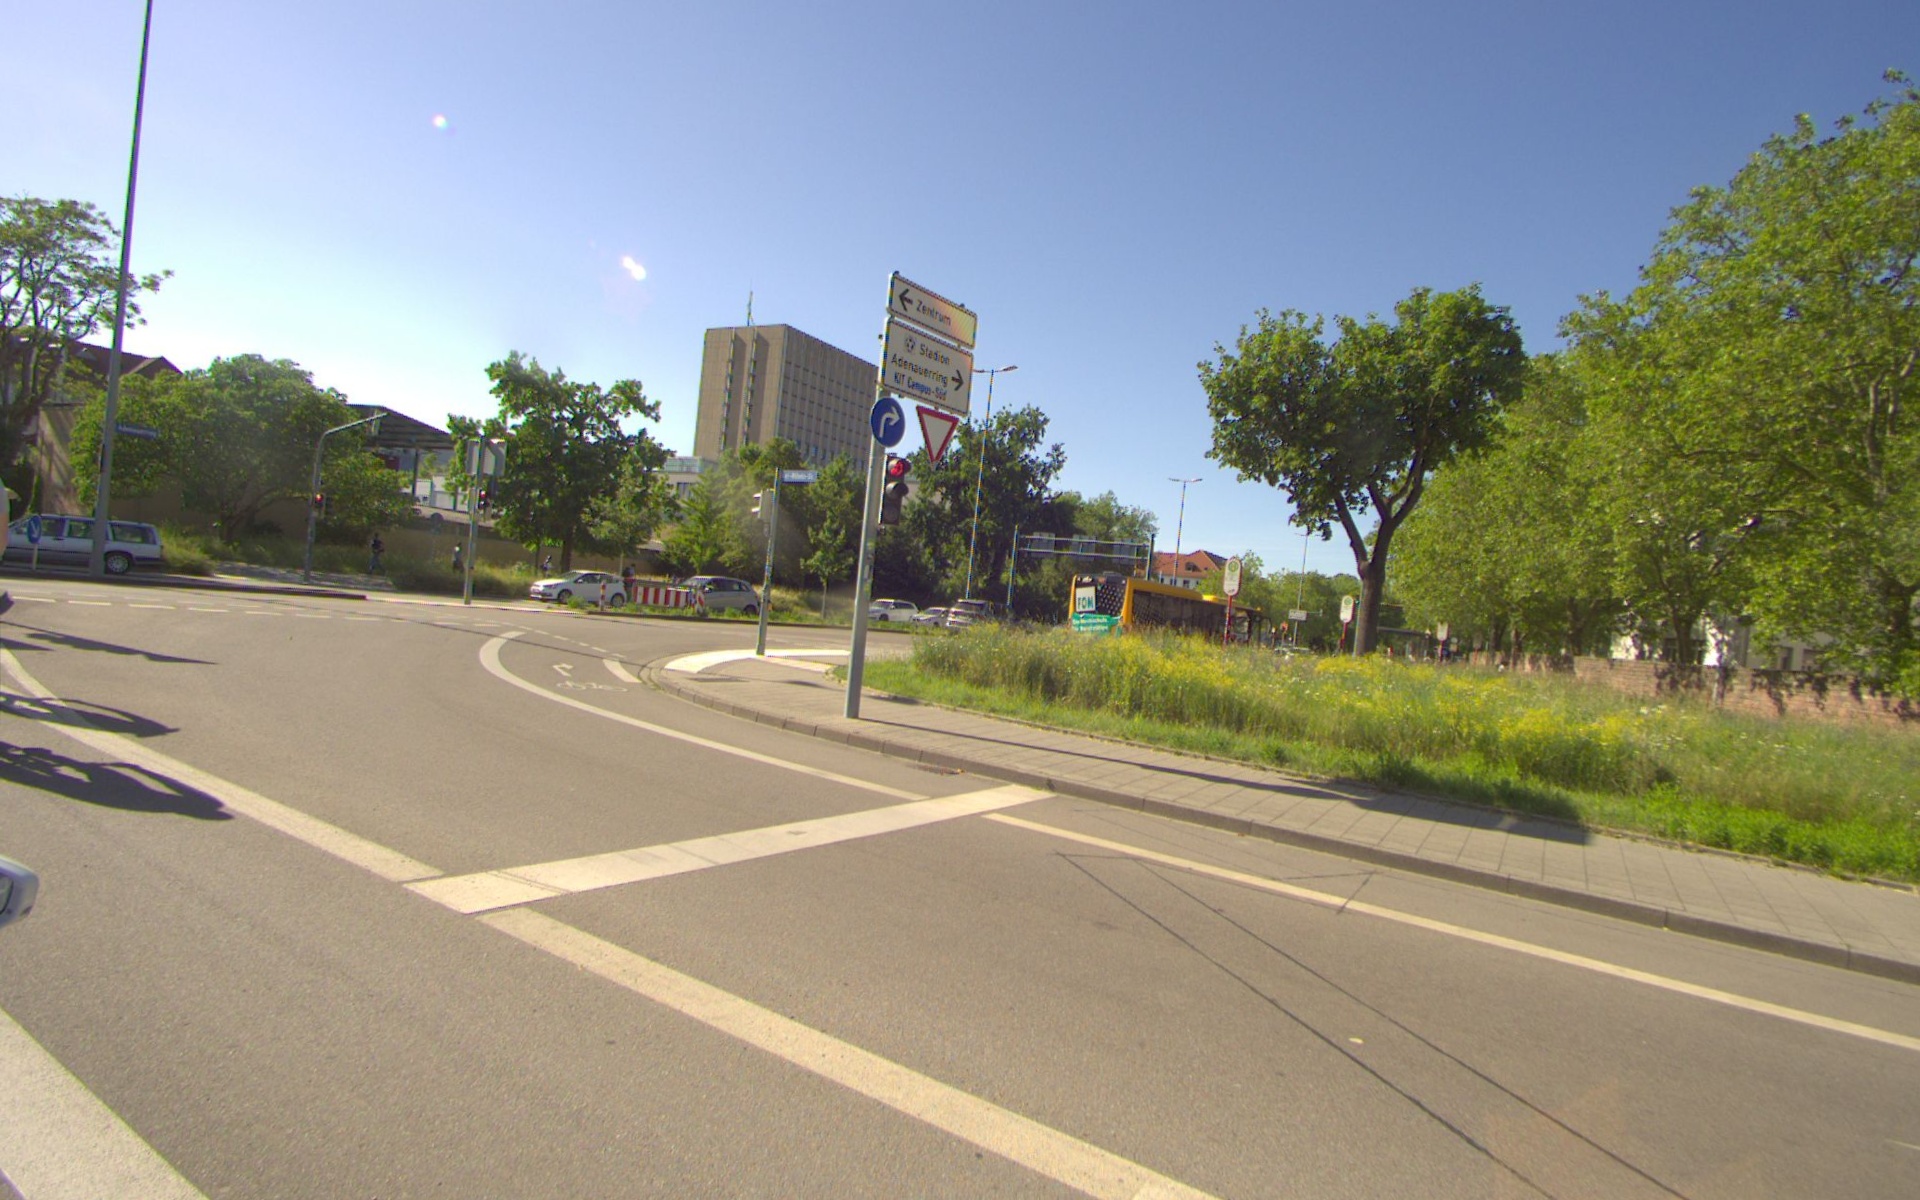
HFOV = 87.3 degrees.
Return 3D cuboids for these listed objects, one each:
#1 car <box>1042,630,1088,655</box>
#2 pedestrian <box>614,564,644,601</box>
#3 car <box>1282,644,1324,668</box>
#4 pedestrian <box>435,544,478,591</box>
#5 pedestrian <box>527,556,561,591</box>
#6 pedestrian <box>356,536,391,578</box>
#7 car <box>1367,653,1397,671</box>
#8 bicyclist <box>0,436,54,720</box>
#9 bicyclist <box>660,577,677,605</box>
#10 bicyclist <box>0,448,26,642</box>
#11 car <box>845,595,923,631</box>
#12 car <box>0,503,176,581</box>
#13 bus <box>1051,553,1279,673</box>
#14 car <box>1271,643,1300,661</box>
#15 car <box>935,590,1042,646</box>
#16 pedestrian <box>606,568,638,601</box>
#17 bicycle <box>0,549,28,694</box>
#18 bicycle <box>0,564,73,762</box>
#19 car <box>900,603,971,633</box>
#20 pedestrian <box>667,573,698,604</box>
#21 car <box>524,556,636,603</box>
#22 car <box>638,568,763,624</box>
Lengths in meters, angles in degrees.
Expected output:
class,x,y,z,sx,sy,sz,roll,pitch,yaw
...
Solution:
class,x,y,z,sx,sy,sz,roll,pitch,yaw
car,8.100,3.293,77.547,1.890,1.625,4.077,7,0,30
pedestrian,-17.189,-0.913,52.215,0.911,1.754,0.963,7,1,35
car,24.326,3.968,71.261,1.731,1.390,3.989,7,0,34
pedestrian,-22.298,-1.442,44.561,0.953,1.879,1.294,7,1,43
pedestrian,-19.802,-1.258,47.900,0.917,1.540,1.083,7,1,41
pedestrian,-24.801,-1.822,42.564,0.979,1.625,0.816,6,1,-45
car,40.111,5.877,95.545,1.863,1.419,3.848,3,-3,34
bicyclist,-6.183,-0.178,6.062,0.851,1.695,0.741,7,1,30
bicyclist,-15.016,-0.472,51.793,0.568,1.385,0.520,7,1,42
bicyclist,-7.884,-0.425,7.691,1.063,1.601,0.675,7,-1,31
car,-4.393,0.778,58.853,1.970,1.625,4.502,7,0,37
car,-24.006,-1.607,26.541,1.909,1.613,4.860,7,0,38
bus,8.617,0.748,40.160,3.203,3.614,12.411,8,0,39
car,36.514,5.863,112.839,1.892,1.625,4.072,7,0,35
car,1.258,0.783,42.292,1.975,1.884,4.725,7,0,37
pedestrian,-17.130,-0.795,51.000,0.865,1.540,1.074,7,1,36
bicycle,-8.013,0.059,7.725,1.813,1.063,0.672,6,-1,31
bicycle,-6.275,0.296,6.103,1.871,1.064,0.748,6,1,31
car,-1.346,1.058,57.384,1.970,1.378,3.994,5,-1,36
pedestrian,-15.239,-0.607,55.273,0.927,1.540,1.145,7,1,38
car,-15.762,-0.826,41.865,1.785,1.509,3.952,4,-2,38
car,-9.568,-0.117,37.363,1.882,1.625,4.124,7,0,37
